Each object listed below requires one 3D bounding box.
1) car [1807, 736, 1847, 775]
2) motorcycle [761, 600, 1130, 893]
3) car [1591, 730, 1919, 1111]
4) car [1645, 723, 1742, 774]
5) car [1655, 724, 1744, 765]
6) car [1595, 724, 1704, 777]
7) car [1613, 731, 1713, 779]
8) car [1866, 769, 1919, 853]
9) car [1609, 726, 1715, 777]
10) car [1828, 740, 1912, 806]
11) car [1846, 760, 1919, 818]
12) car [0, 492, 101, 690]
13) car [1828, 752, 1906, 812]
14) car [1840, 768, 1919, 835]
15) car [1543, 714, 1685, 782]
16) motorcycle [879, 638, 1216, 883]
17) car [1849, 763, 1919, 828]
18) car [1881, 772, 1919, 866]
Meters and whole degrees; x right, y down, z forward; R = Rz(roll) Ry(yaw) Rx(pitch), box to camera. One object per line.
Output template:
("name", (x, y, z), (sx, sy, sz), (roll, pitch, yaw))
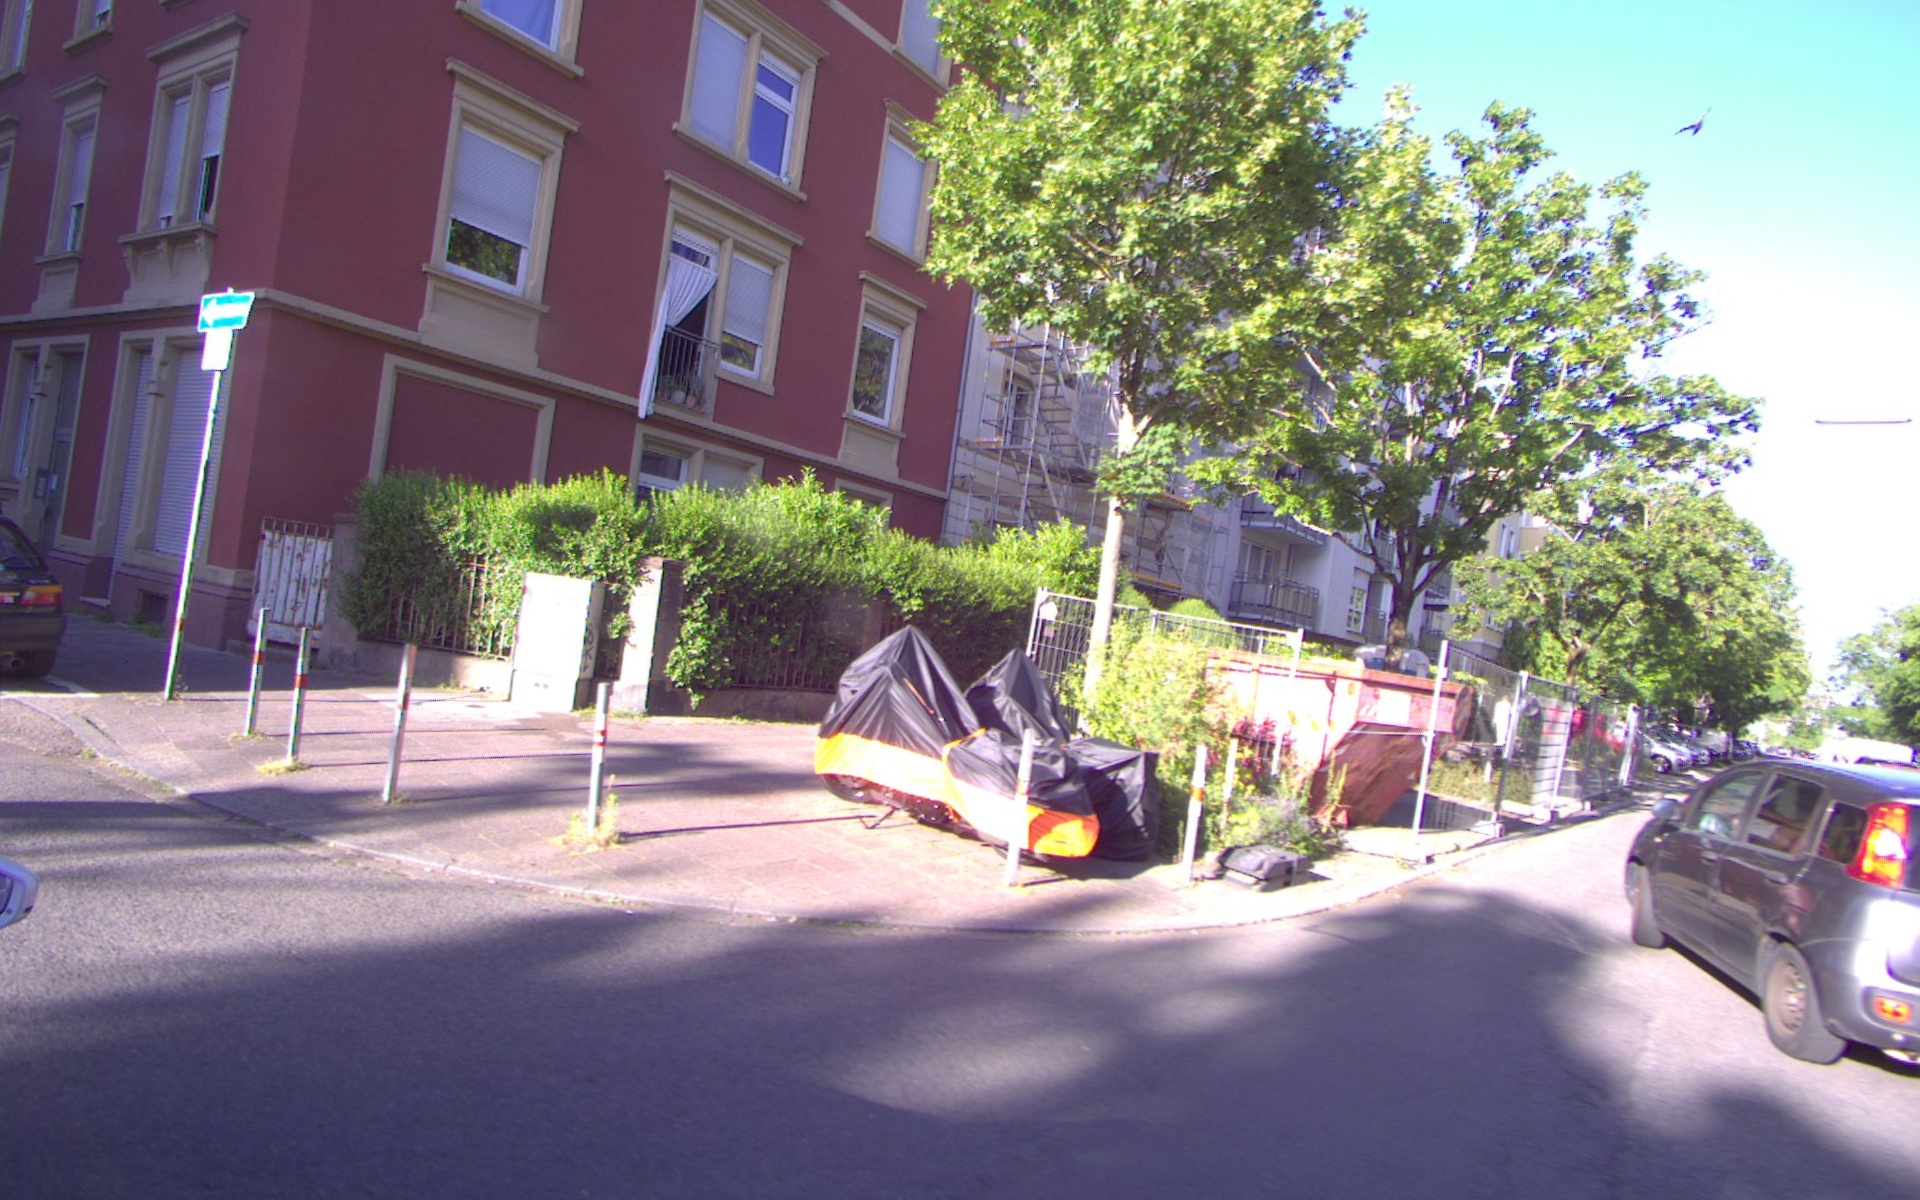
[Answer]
("car", (64.968, 11.653, 75.384), (1.972, 2.482, 3.984), (7, -2, 41))
("motorcycle", (-0.198, 0.955, 7.360), (2.584, 1.543, 0.871), (8, 0, 40))
("car", (5.361, 1.744, 6.047), (1.608, 1.500, 3.537), (8, -2, 17))
("car", (39.767, 8.011, 54.621), (4.009, 2.037, 1.994), (7, -1, 38))
("car", (42.766, 8.344, 58.290), (3.938, 1.682, 1.723), (7, -1, 36))
("car", (31.761, 6.896, 46.388), (3.939, 1.682, 1.722), (7, -1, 37))
("car", (35.429, 7.789, 50.742), (3.939, 1.682, 1.722), (7, -1, 37))
("car", (20.952, 4.597, 21.555), (1.762, 1.525, 4.208), (7, -2, 37))
("car", (33.600, 7.215, 48.216), (3.939, 1.682, 1.722), (7, -1, 37))
("car", (37.676, 7.113, 41.783), (2.108, 2.220, 5.320), (7, -2, 40))
("car", (30.673, 6.213, 33.283), (1.764, 1.525, 4.205), (7, -2, 40))
("car", (-9.071, -0.299, 8.399), (3.644, 1.500, 1.672), (7, -2, 31))
("car", (33.739, 6.725, 37.504), (1.778, 1.787, 4.132), (7, -2, 40))
("car", (24.179, 5.208, 25.953), (1.762, 1.314, 4.208), (7, -2, 37))
("car", (23.899, 5.398, 36.819), (4.119, 1.664, 1.997), (7, -5, 37))
("motorcycle", (0.629, 1.190, 8.090), (2.506, 1.421, 0.868), (7, -1, 40))
("car", (27.738, 5.786, 29.866), (1.764, 1.525, 4.204), (7, -2, 40))
("car", (17.535, 3.914, 17.439), (1.762, 1.439, 4.208), (7, -2, 37))
